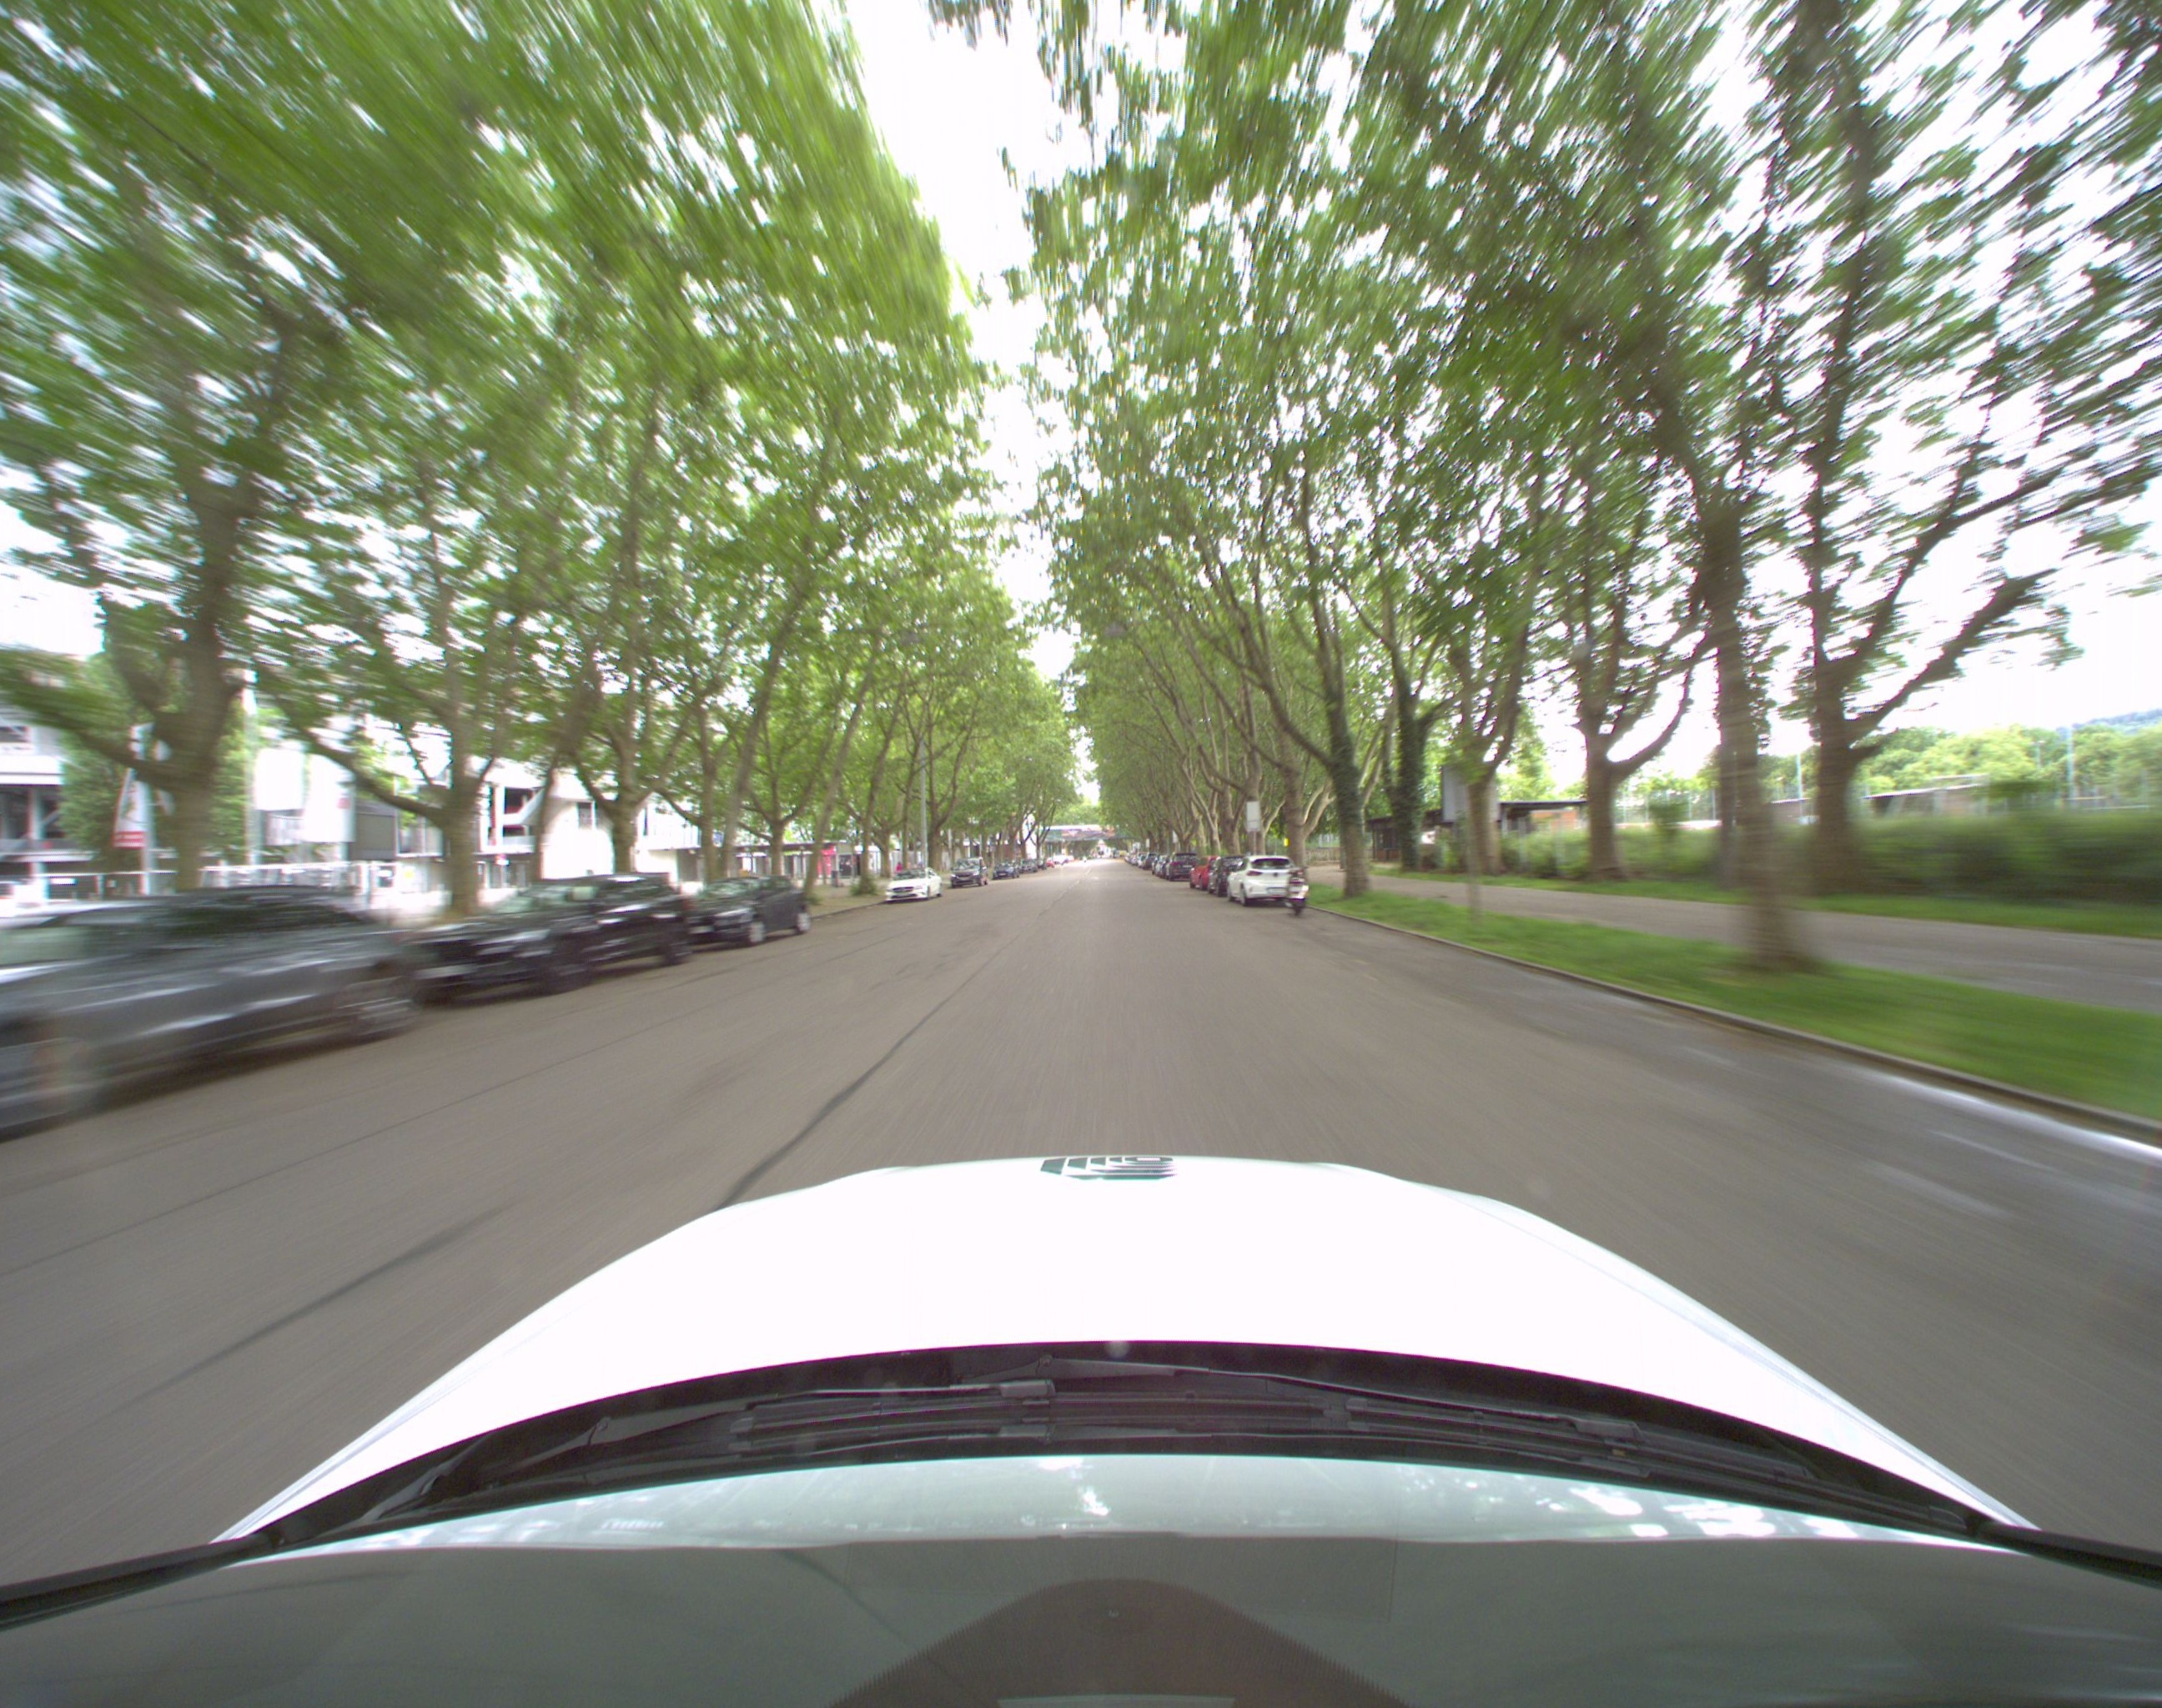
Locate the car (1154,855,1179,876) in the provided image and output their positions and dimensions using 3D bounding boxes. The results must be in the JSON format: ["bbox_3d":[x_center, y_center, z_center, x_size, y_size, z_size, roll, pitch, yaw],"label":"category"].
[{"bbox_3d":[6.118,0.831,58.478,1.610,1.441,3.712,0,0,3],"label":"car"}]

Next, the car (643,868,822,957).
[{"bbox_3d":[-7.534,1.186,18.189,1.826,1.494,4.445,-5,0,2],"label":"car"}]

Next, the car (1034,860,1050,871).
[{"bbox_3d":[-5.503,1.587,114.643,1.801,1.354,4.002,-2,0,2],"label":"car"}]

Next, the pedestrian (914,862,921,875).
[{"bbox_3d":[-19.742,1.798,98.452,0.665,1.544,0.660,-2,-1,2],"label":"pedestrian"}]

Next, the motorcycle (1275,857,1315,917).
[{"bbox_3d":[5.080,0.751,19.416,0.708,1.331,1.998,-2,0,10],"label":"motorcycle"}]

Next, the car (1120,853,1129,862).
[{"bbox_3d":[9.237,0.779,171.855,1.840,1.783,5.213,-1,-1,2],"label":"car"}]

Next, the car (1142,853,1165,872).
[{"bbox_3d":[6.705,0.807,75.637,1.702,1.698,4.630,0,0,0],"label":"car"}]

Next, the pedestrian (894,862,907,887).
[{"bbox_3d":[-13.005,1.489,58.680,0.570,1.742,0.771,-2,-1,16],"label":"pedestrian"}]

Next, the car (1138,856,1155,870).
[{"bbox_3d":[7.108,0.986,88.731,1.701,1.427,3.891,-1,0,2],"label":"car"}]

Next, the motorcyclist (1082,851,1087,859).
[{"bbox_3d":[0.624,0.191,155.385,0.868,1.480,1.264,-2,-1,-2],"label":"motorcyclist"}]

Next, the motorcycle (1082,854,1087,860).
[{"bbox_3d":[0.642,0.612,155.358,0.871,1.079,3.050,-2,0,-2],"label":"motorcycle"}]

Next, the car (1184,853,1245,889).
[{"bbox_3d":[5.631,0.705,34.878,1.712,1.438,4.625,0,0,-2],"label":"car"}]

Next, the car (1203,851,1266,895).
[{"bbox_3d":[5.594,0.664,30.077,1.723,1.470,4.083,1,0,3],"label":"car"}]

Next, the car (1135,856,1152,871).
[{"bbox_3d":[7.838,1.199,102.527,1.896,1.739,4.508,-2,0,2],"label":"car"}]

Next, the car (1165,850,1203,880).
[{"bbox_3d":[5.809,0.589,46.255,1.749,1.620,4.441,0,0,2],"label":"car"}]

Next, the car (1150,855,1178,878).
[{"bbox_3d":[6.328,0.931,62.509,1.771,1.673,4.638,-2,0,1],"label":"car"}]

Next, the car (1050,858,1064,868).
[{"bbox_3d":[-4.095,1.508,139.183,2.065,1.563,4.758,-2,0,2],"label":"car"}]

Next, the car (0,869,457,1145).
[{"bbox_3d":[-7.957,1.099,6.794,1.864,1.718,4.645,-5,0,-1],"label":"car"}]

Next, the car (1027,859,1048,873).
[{"bbox_3d":[-5.101,1.411,96.805,1.819,1.465,4.632,-3,-1,4],"label":"car"}]

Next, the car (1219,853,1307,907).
[{"bbox_3d":[5.367,0.725,24.524,1.729,1.438,4.122,-2,0,0],"label":"car"}]

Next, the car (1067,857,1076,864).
[{"bbox_3d":[-2.186,1.512,191.226,1.989,1.601,3.995,-2,0,-4],"label":"car"}]

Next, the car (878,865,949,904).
[{"bbox_3d":[-7.313,1.292,36.065,1.897,1.402,4.753,-5,0,2],"label":"car"}]

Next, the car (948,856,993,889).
[{"bbox_3d":[-6.668,1.093,49.668,1.942,1.750,4.639,-4,-1,1],"label":"car"}]

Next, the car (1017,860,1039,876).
[{"bbox_3d":[-5.519,1.400,85.128,1.871,1.527,4.153,-3,0,2],"label":"car"}]

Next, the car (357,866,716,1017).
[{"bbox_3d":[-7.920,1.136,12.639,1.929,1.643,4.932,-5,0,3],"label":"car"}]

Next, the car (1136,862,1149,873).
[{"bbox_3d":[9.440,1.994,125.219,1.796,1.555,4.001,-2,0,1],"label":"car"}]

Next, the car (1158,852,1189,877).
[{"bbox_3d":[5.903,0.646,52.212,1.662,1.509,4.355,0,0,2],"label":"car"}]

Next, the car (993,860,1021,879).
[{"bbox_3d":[-6.070,1.257,67.239,1.718,1.486,4.576,-2,0,2],"label":"car"}]
